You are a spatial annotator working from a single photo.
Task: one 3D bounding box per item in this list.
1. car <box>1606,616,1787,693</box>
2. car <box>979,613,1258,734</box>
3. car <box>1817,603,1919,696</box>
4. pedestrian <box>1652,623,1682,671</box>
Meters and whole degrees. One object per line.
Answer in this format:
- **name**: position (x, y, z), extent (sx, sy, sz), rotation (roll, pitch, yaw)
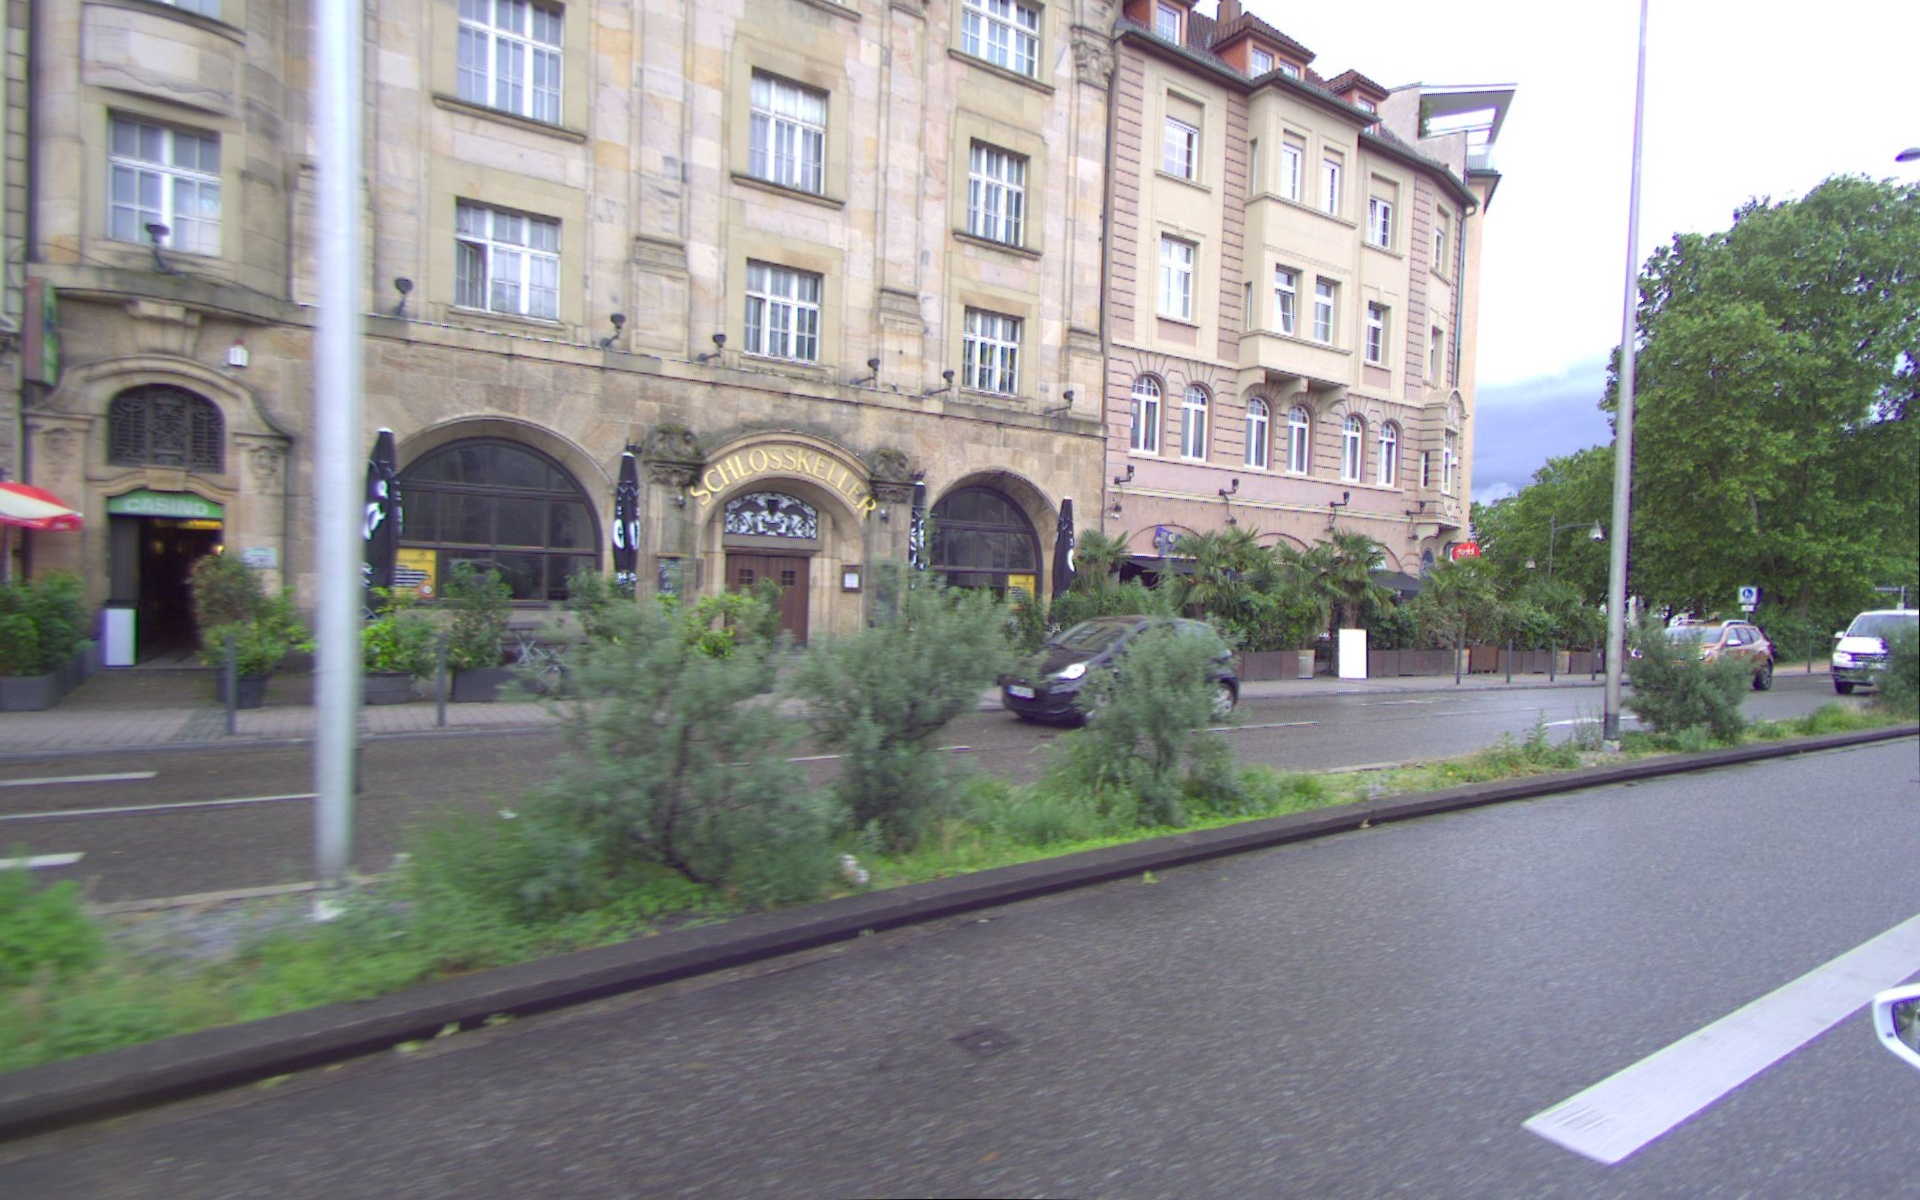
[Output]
- **car**: position (17.872, 1.287, 24.363), extent (4.051, 1.703, 1.985), rotation (1, 0, -28)
- **car**: position (2.248, 0.946, 13.947), extent (3.722, 1.451, 1.618), rotation (2, 0, -34)
- **car**: position (22.391, 1.123, 23.833), extent (4.805, 2.000, 1.909), rotation (2, 0, -34)
- **pedestrian**: position (23.322, 1.549, 33.128), extent (0.722, 1.550, 0.683), rotation (1, -1, -41)
